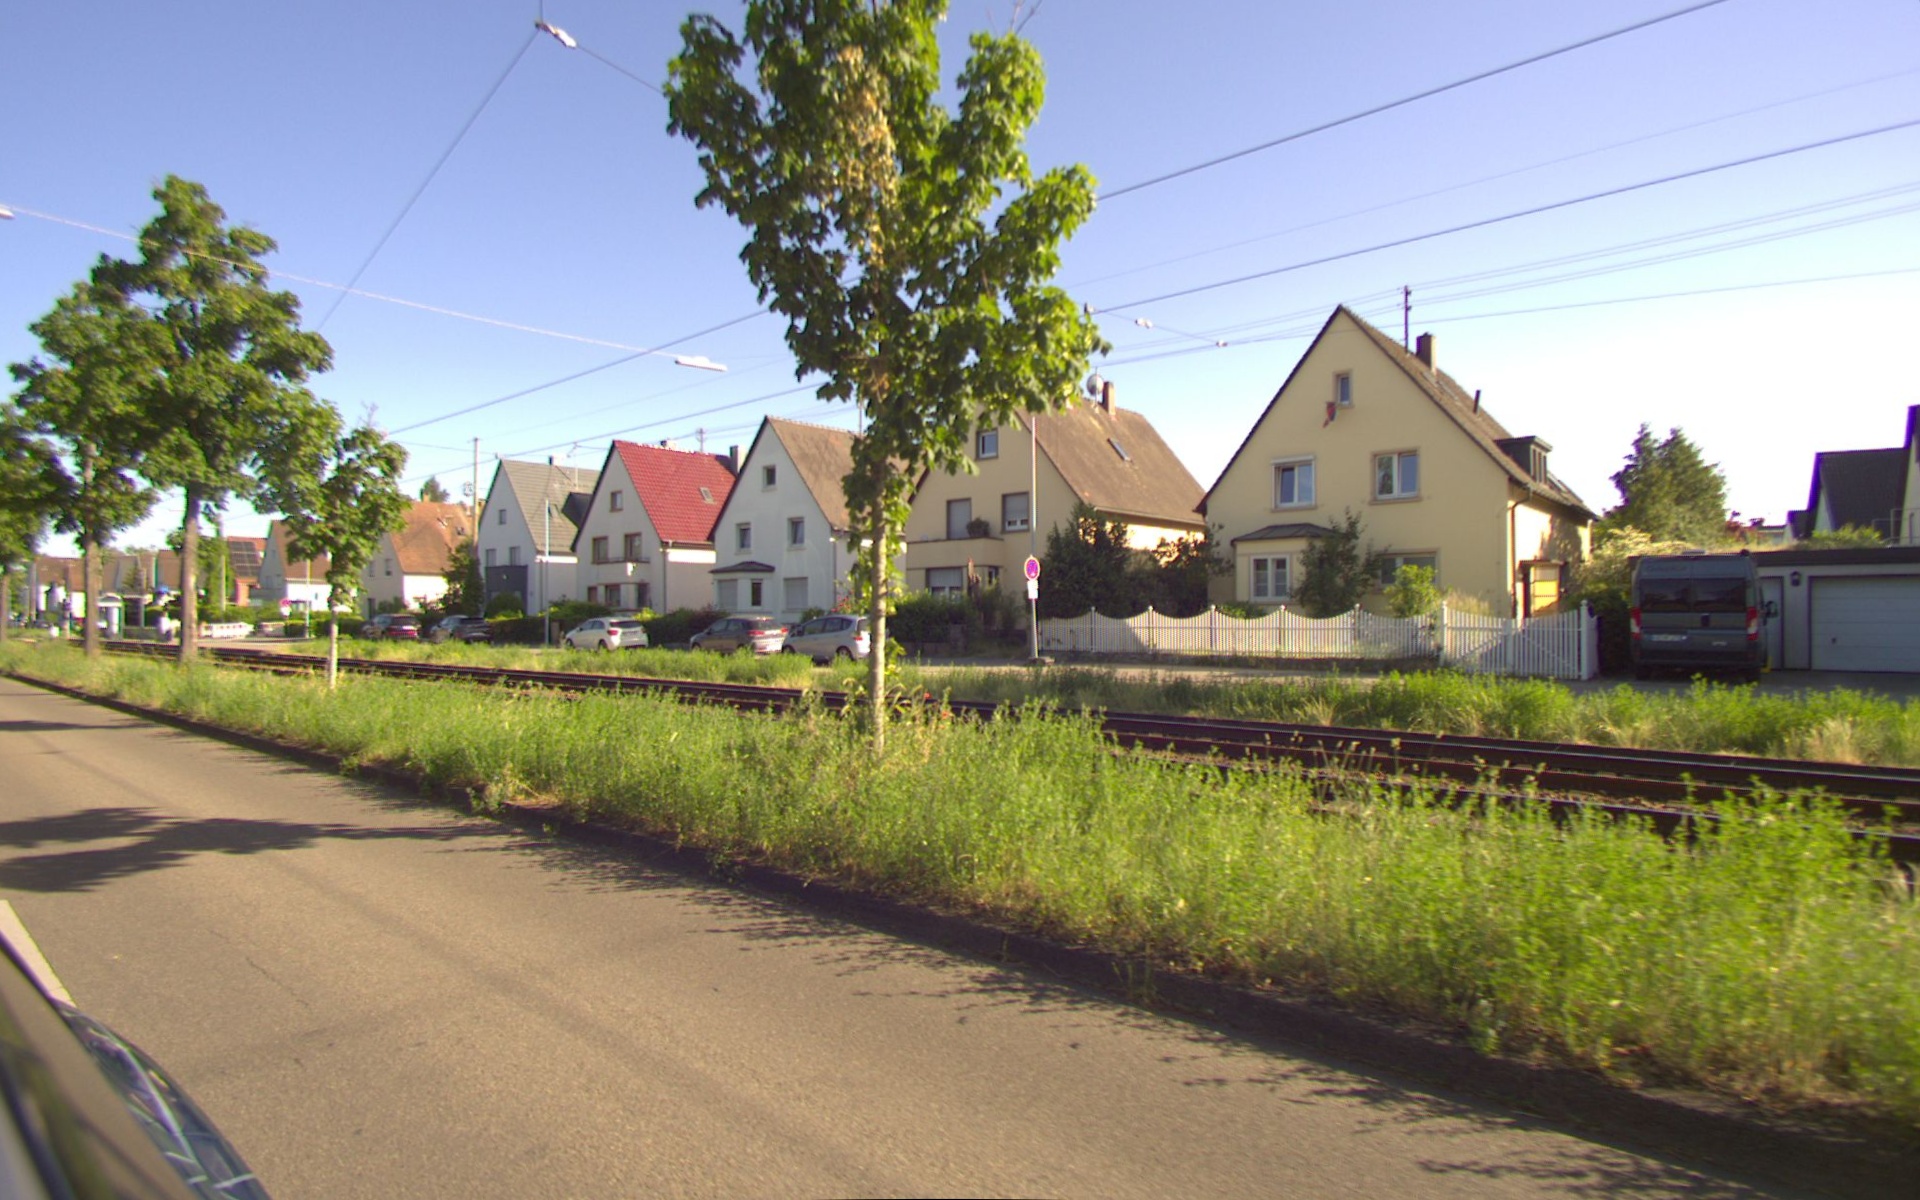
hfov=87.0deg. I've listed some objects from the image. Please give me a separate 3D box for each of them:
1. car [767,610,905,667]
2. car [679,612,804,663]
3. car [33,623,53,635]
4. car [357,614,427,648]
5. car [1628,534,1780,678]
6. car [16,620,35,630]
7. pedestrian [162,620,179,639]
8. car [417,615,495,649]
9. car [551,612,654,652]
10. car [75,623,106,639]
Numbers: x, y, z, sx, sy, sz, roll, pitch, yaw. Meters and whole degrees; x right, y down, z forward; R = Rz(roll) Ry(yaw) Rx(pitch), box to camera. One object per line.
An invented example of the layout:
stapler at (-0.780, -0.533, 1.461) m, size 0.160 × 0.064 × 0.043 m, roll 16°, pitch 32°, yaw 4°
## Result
car at (-3.801, 1.108, 30.627) m, size 4.055 × 1.565 × 1.926 m, roll -1°, pitch 1°, yaw 41°
car at (-7.323, 1.214, 33.716) m, size 4.126 × 1.460 × 1.973 m, roll -1°, pitch 3°, yaw 41°
car at (-127.158, 4.021, 140.332) m, size 3.754 × 1.501 × 1.716 m, roll -1°, pitch 1°, yaw 42°
car at (-30.899, 1.656, 55.004) m, size 4.389 × 1.726 × 1.973 m, roll -1°, pitch 1°, yaw 41°
car at (15.579, 0.134, 21.066) m, size 2.101 × 2.645 × 4.976 m, roll -2°, pitch -1°, yaw 41°
car at (-139.750, 3.679, 151.360) m, size 3.822 × 1.391 × 1.733 m, roll -1°, pitch 1°, yaw 42°
pedestrian at (-66.693, 2.509, 85.506) m, size 0.788 × 1.546 × 0.808 m, roll -3°, pitch -2°, yaw 21°
car at (-24.508, 1.538, 49.177) m, size 4.254 × 1.506 × 1.906 m, roll -1°, pitch 1°, yaw 41°
car at (-14.135, 1.236, 39.899) m, size 4.410 × 1.437 × 1.972 m, roll -1°, pitch 1°, yaw 43°
car at (-98.193, 3.444, 114.227) m, size 4.837 × 1.691 × 1.973 m, roll -1°, pitch 1°, yaw 42°
